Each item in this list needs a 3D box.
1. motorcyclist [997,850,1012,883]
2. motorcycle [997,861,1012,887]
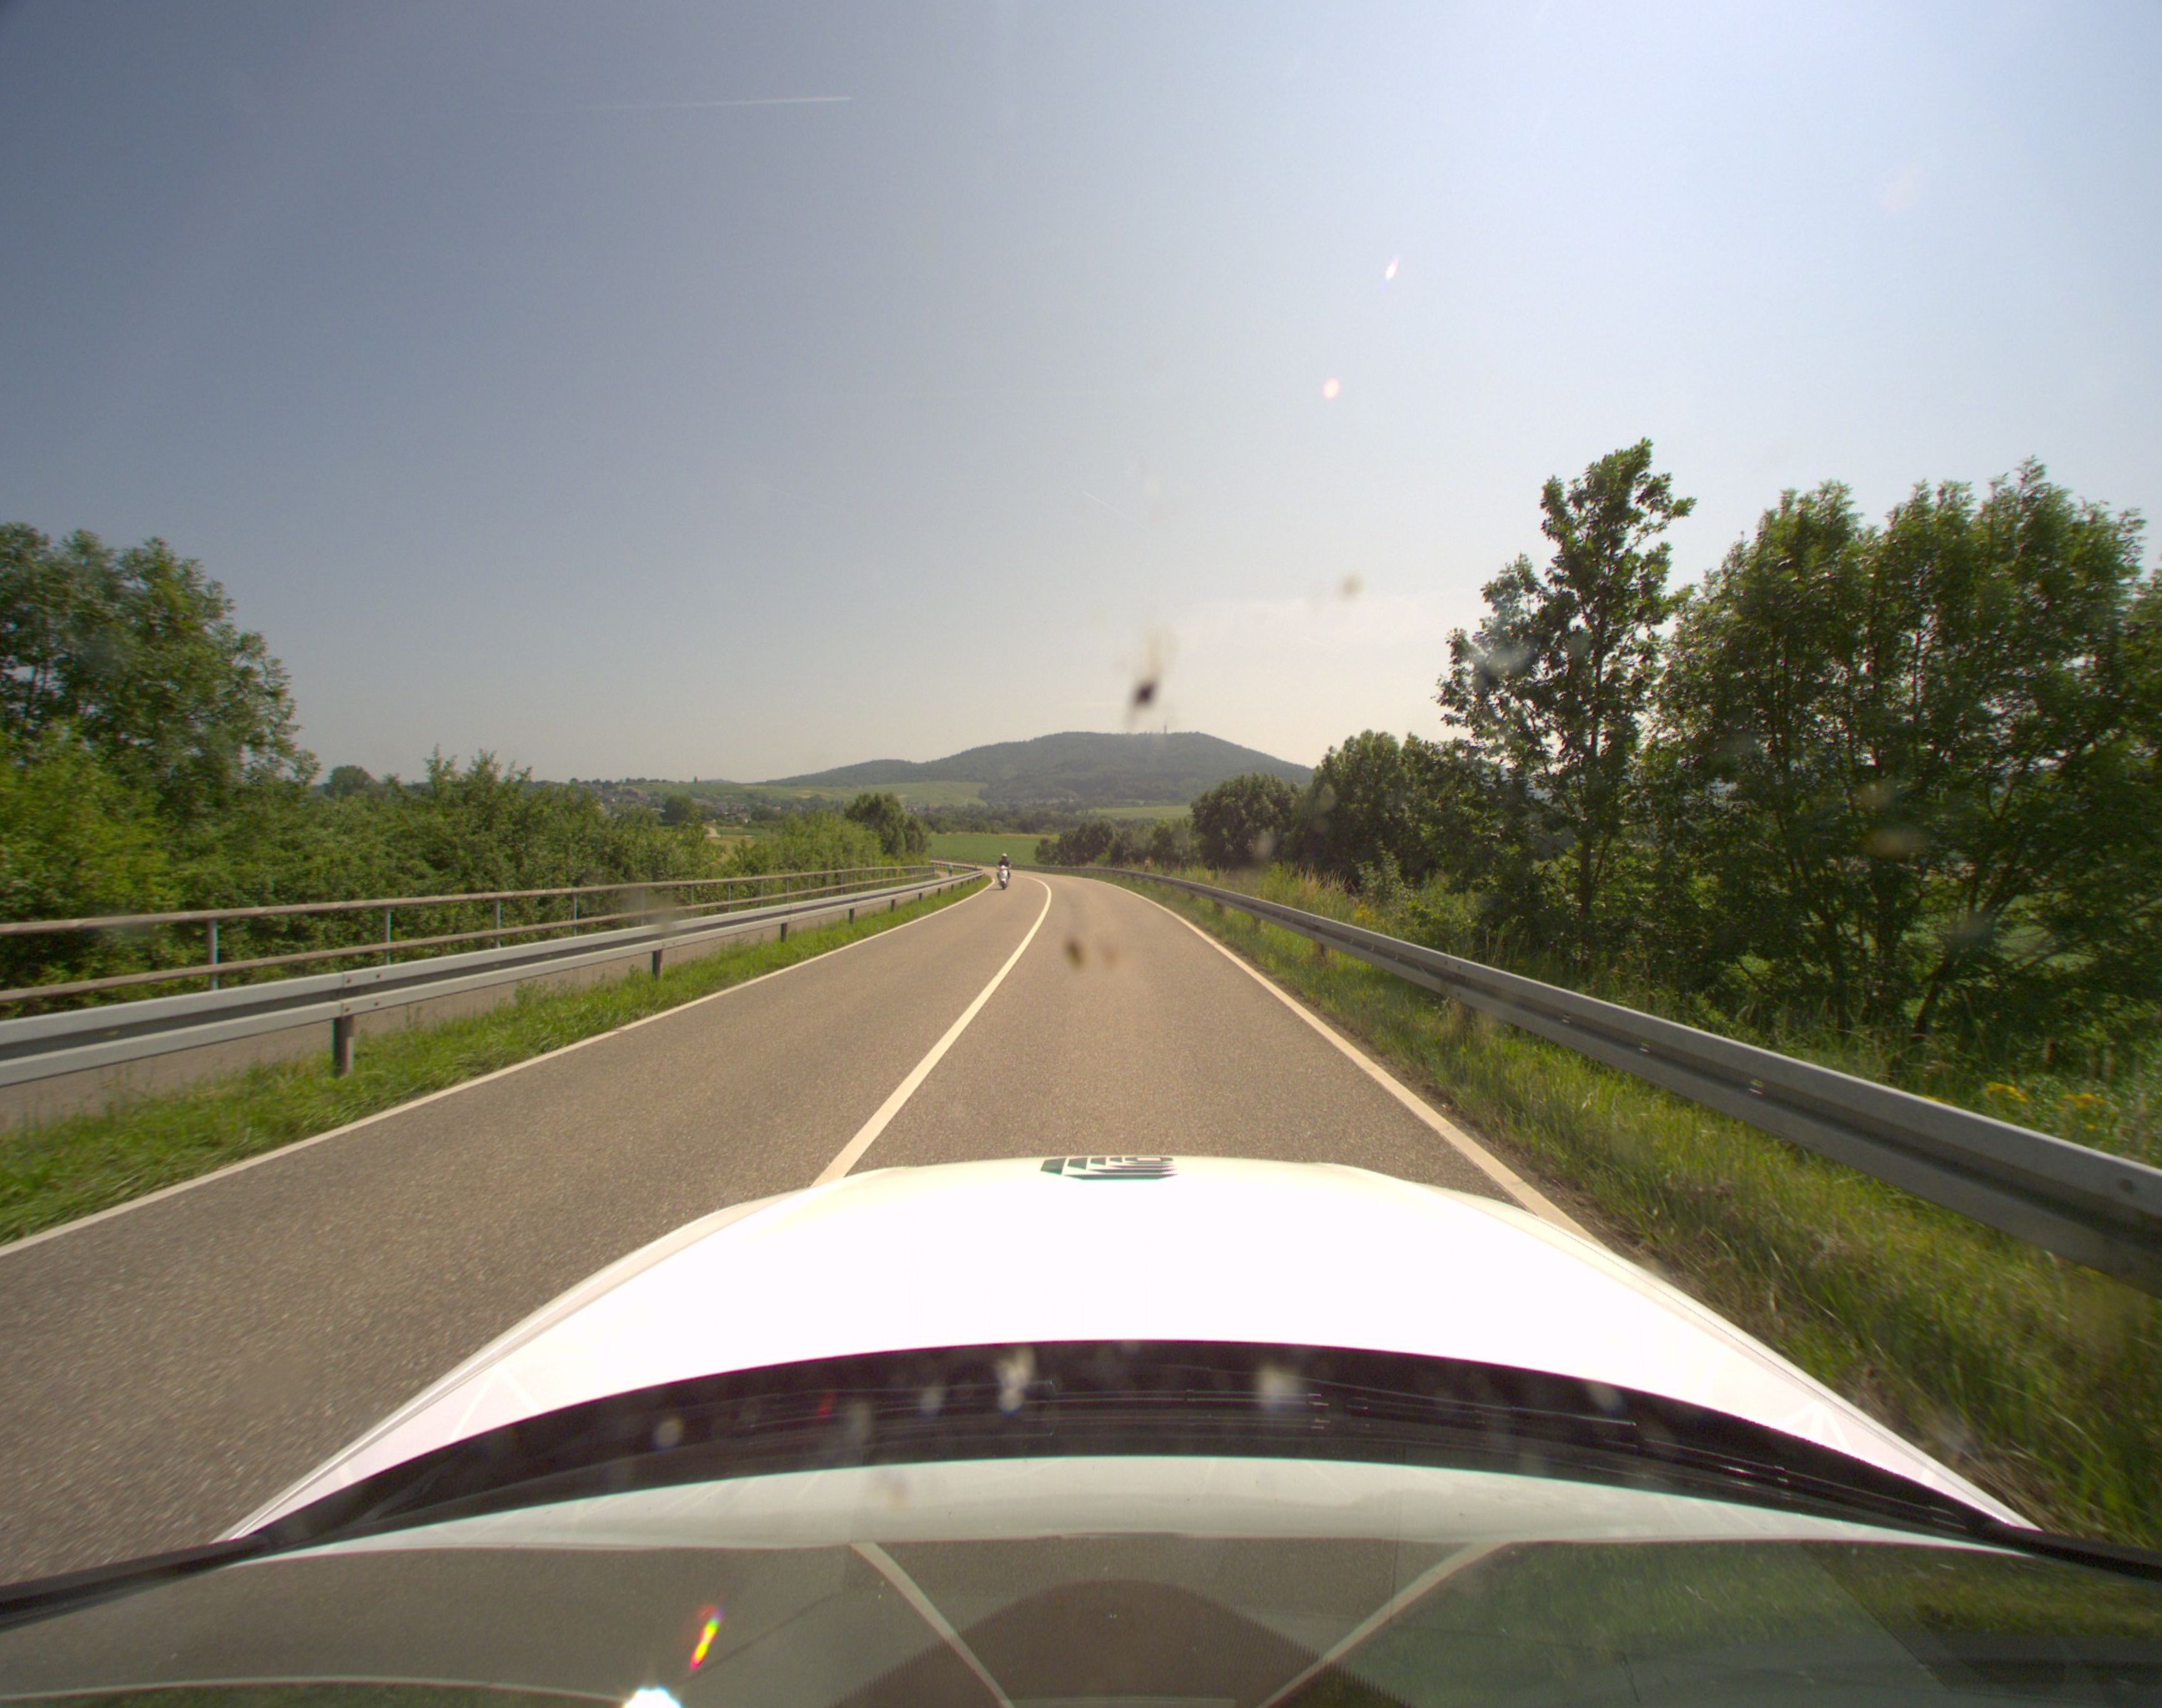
[{"bbox_3d":[-3.706,0.592,39.488,0.653,1.562,0.774,-2,0,-4],"label":"motorcyclist"},{"bbox_3d":[-3.706,0.968,39.464,0.641,1.223,1.636,-2,0,-3],"label":"motorcycle"}]
